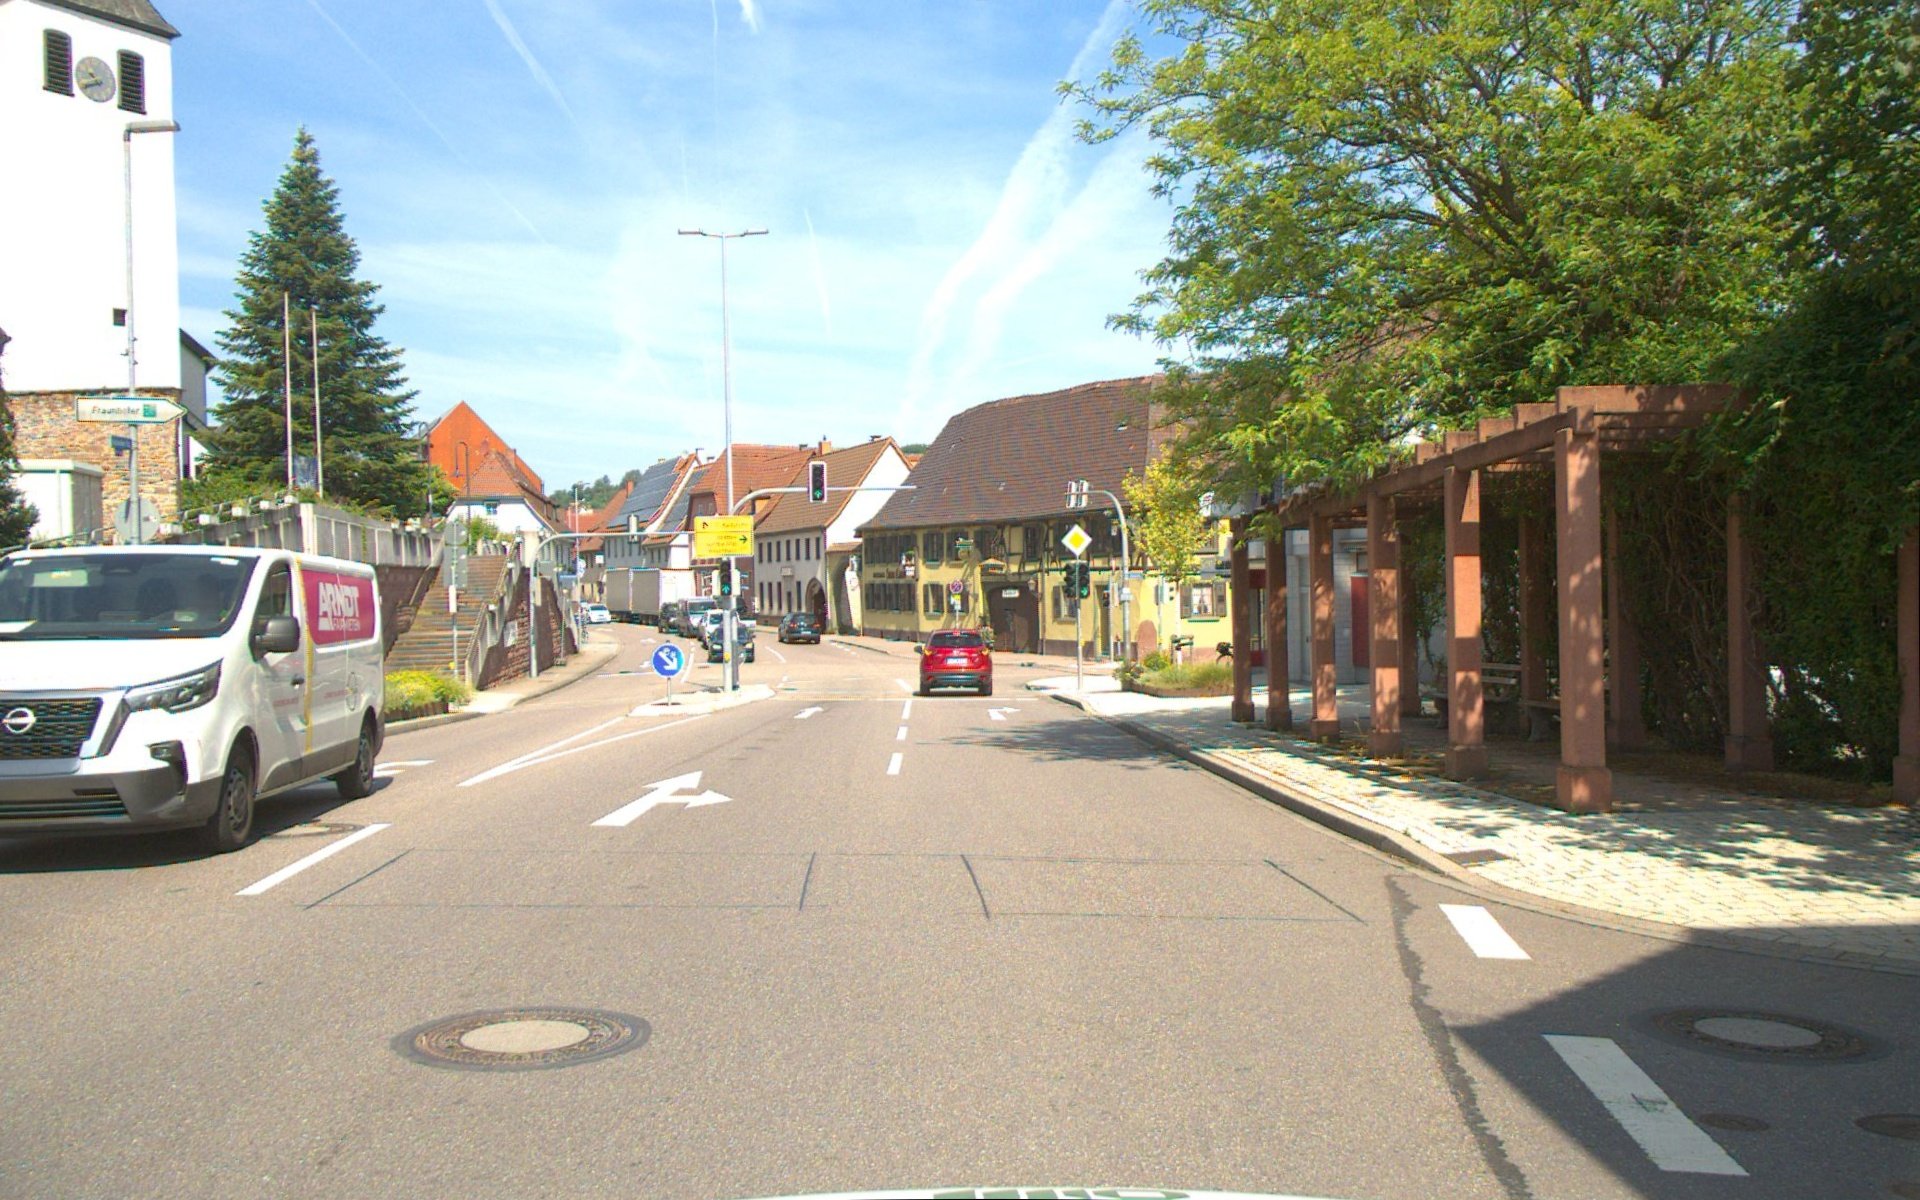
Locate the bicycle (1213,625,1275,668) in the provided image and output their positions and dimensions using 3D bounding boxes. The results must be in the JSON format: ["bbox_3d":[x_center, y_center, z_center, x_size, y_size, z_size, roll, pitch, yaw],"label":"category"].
[{"bbox_3d":[8.689,1.410,50.693,1.767,1.256,0.549,-2,0,-1],"label":"bicycle"}]

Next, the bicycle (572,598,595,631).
[{"bbox_3d":[-20.948,0.814,92.114,0.628,1.810,2.670,1,0,0],"label":"bicycle"}]

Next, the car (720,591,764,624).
[{"bbox_3d":[-14.040,0.449,106.370,1.821,2.049,3.973,1,0,-22],"label":"car"}]

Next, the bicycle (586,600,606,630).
[{"bbox_3d":[-20.237,0.840,92.004,0.546,1.635,2.562,1,0,0],"label":"bicycle"}]

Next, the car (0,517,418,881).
[{"bbox_3d":[-5.454,0.542,11.713,1.931,1.966,5.307,-2,0,-6],"label":"car"}]

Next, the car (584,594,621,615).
[{"bbox_3d":[-27.783,0.325,128.538,1.765,1.553,3.968,-2,1,-28],"label":"car"}]

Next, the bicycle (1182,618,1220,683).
[{"bbox_3d":[5.142,1.057,35.329,0.518,1.302,1.992,-4,0,3],"label":"bicycle"}]

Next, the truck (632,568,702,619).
[{"bbox_3d":[-21.866,-0.468,122.933,3.179,3.611,9.166,1,0,-23],"label":"truck"}]

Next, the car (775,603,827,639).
[{"bbox_3d":[-8.560,1.102,88.780,1.794,1.769,3.982,-2,1,-19],"label":"car"}]

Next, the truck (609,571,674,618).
[{"bbox_3d":[-25.532,-0.408,132.105,3.115,3.521,10.641,1,-1,-22],"label":"truck"}]

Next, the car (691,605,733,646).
[{"bbox_3d":[-12.751,1.277,84.797,1.789,1.939,4.949,-1,1,-12],"label":"car"}]

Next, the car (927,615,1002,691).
[{"bbox_3d":[0.158,1.311,42.398,1.767,1.692,3.813,-2,1,1],"label":"car"}]

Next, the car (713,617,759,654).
[{"bbox_3d":[-9.717,1.504,71.569,1.787,1.459,4.239,-1,1,-10],"label":"car"}]
